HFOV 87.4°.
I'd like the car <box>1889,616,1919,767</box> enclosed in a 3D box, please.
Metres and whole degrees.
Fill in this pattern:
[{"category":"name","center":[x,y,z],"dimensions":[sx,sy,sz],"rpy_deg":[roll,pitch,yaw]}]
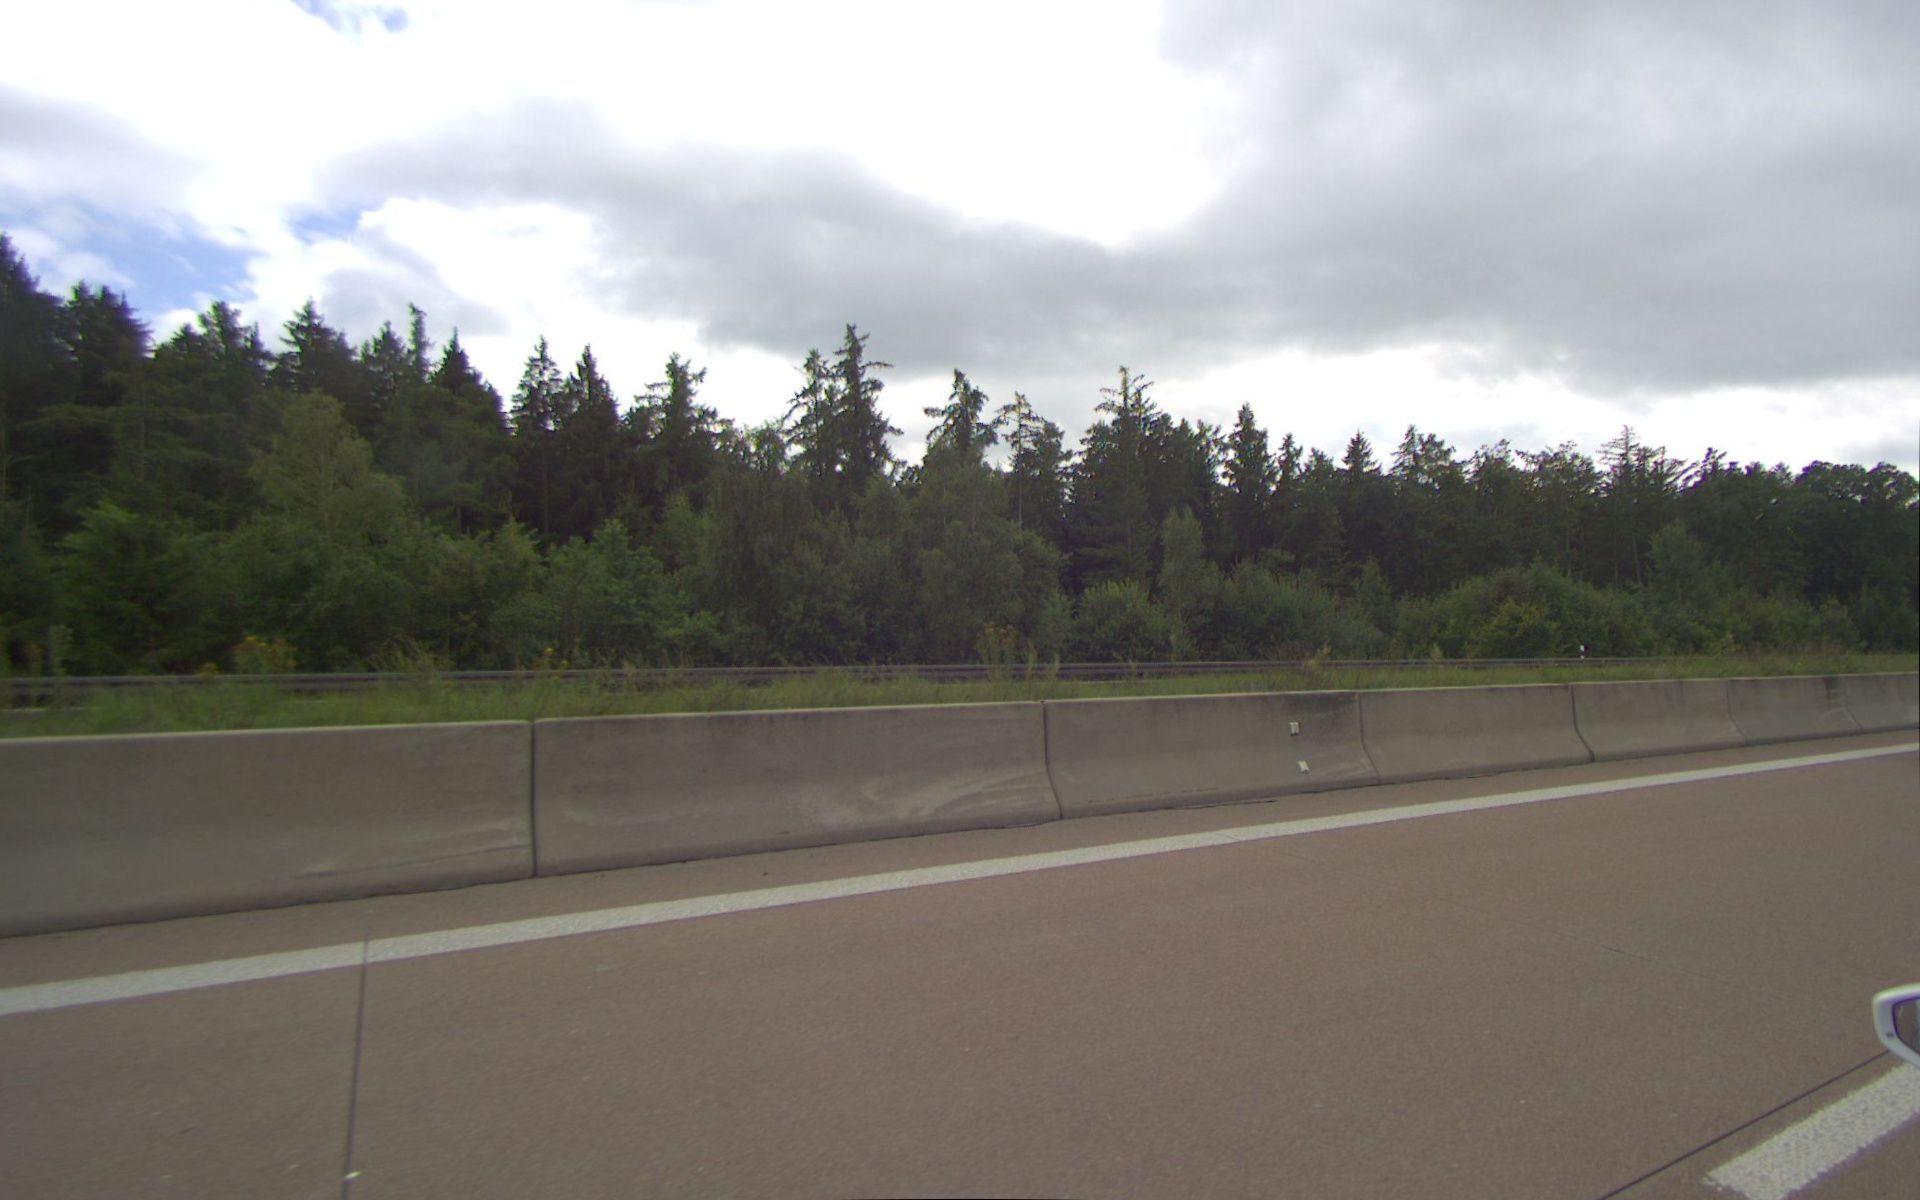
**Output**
[{"category":"car","center":[12.847,1.013,11.273],"dimensions":[5.609,1.571,2.074],"rpy_deg":[1,0,-31]}]
